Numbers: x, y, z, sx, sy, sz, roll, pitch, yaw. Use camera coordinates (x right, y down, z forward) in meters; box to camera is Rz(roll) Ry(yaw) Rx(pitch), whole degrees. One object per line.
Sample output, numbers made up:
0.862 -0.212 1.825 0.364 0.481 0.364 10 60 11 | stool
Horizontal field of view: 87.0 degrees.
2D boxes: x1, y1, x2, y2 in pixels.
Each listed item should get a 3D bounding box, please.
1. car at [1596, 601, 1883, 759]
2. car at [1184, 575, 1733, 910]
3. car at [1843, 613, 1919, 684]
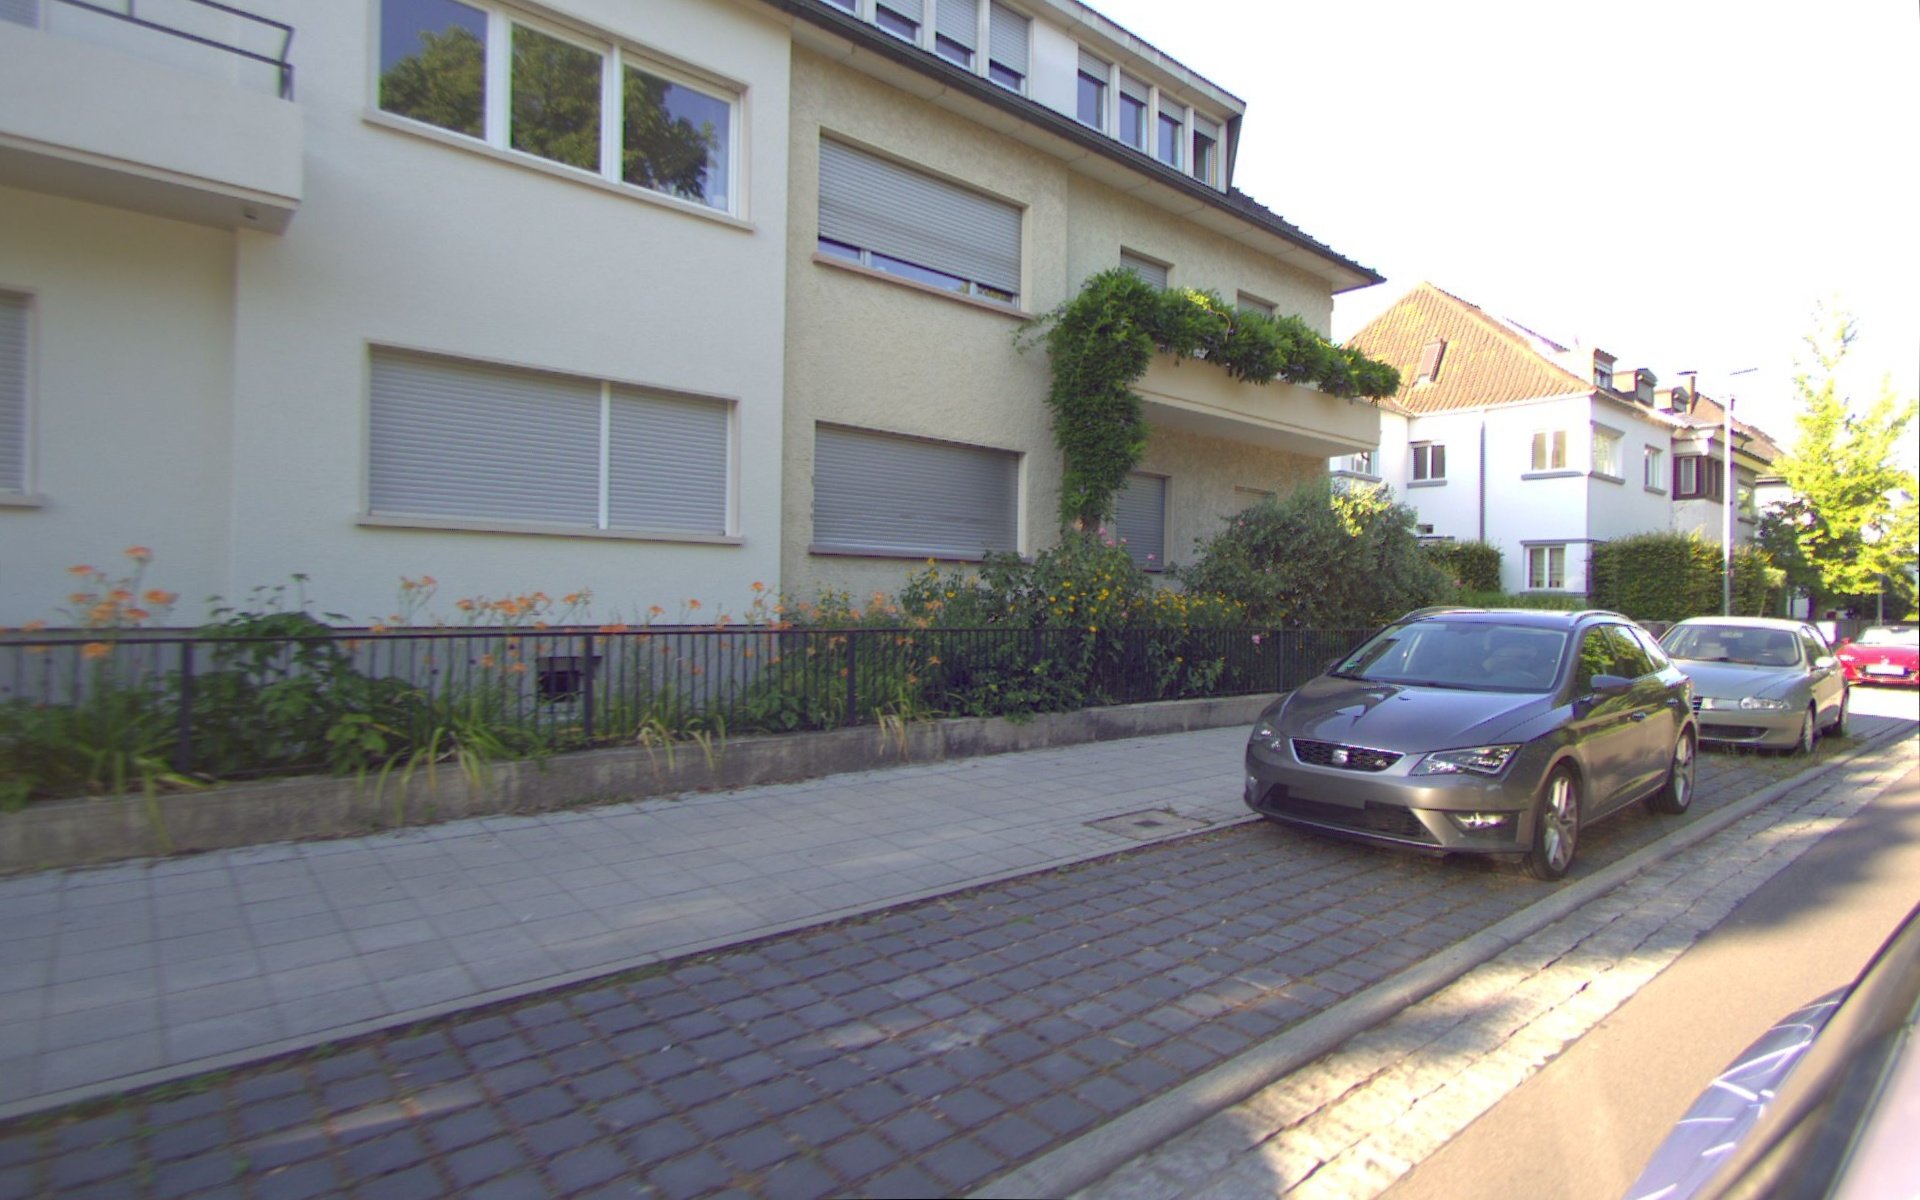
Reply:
9.014 0.785 11.596 4.006 1.397 1.798 1 2 -41 | car
3.522 0.681 6.788 4.120 1.512 1.798 1 2 -41 | car
19.458 0.946 20.600 3.812 1.273 1.702 0 2 -41 | car
